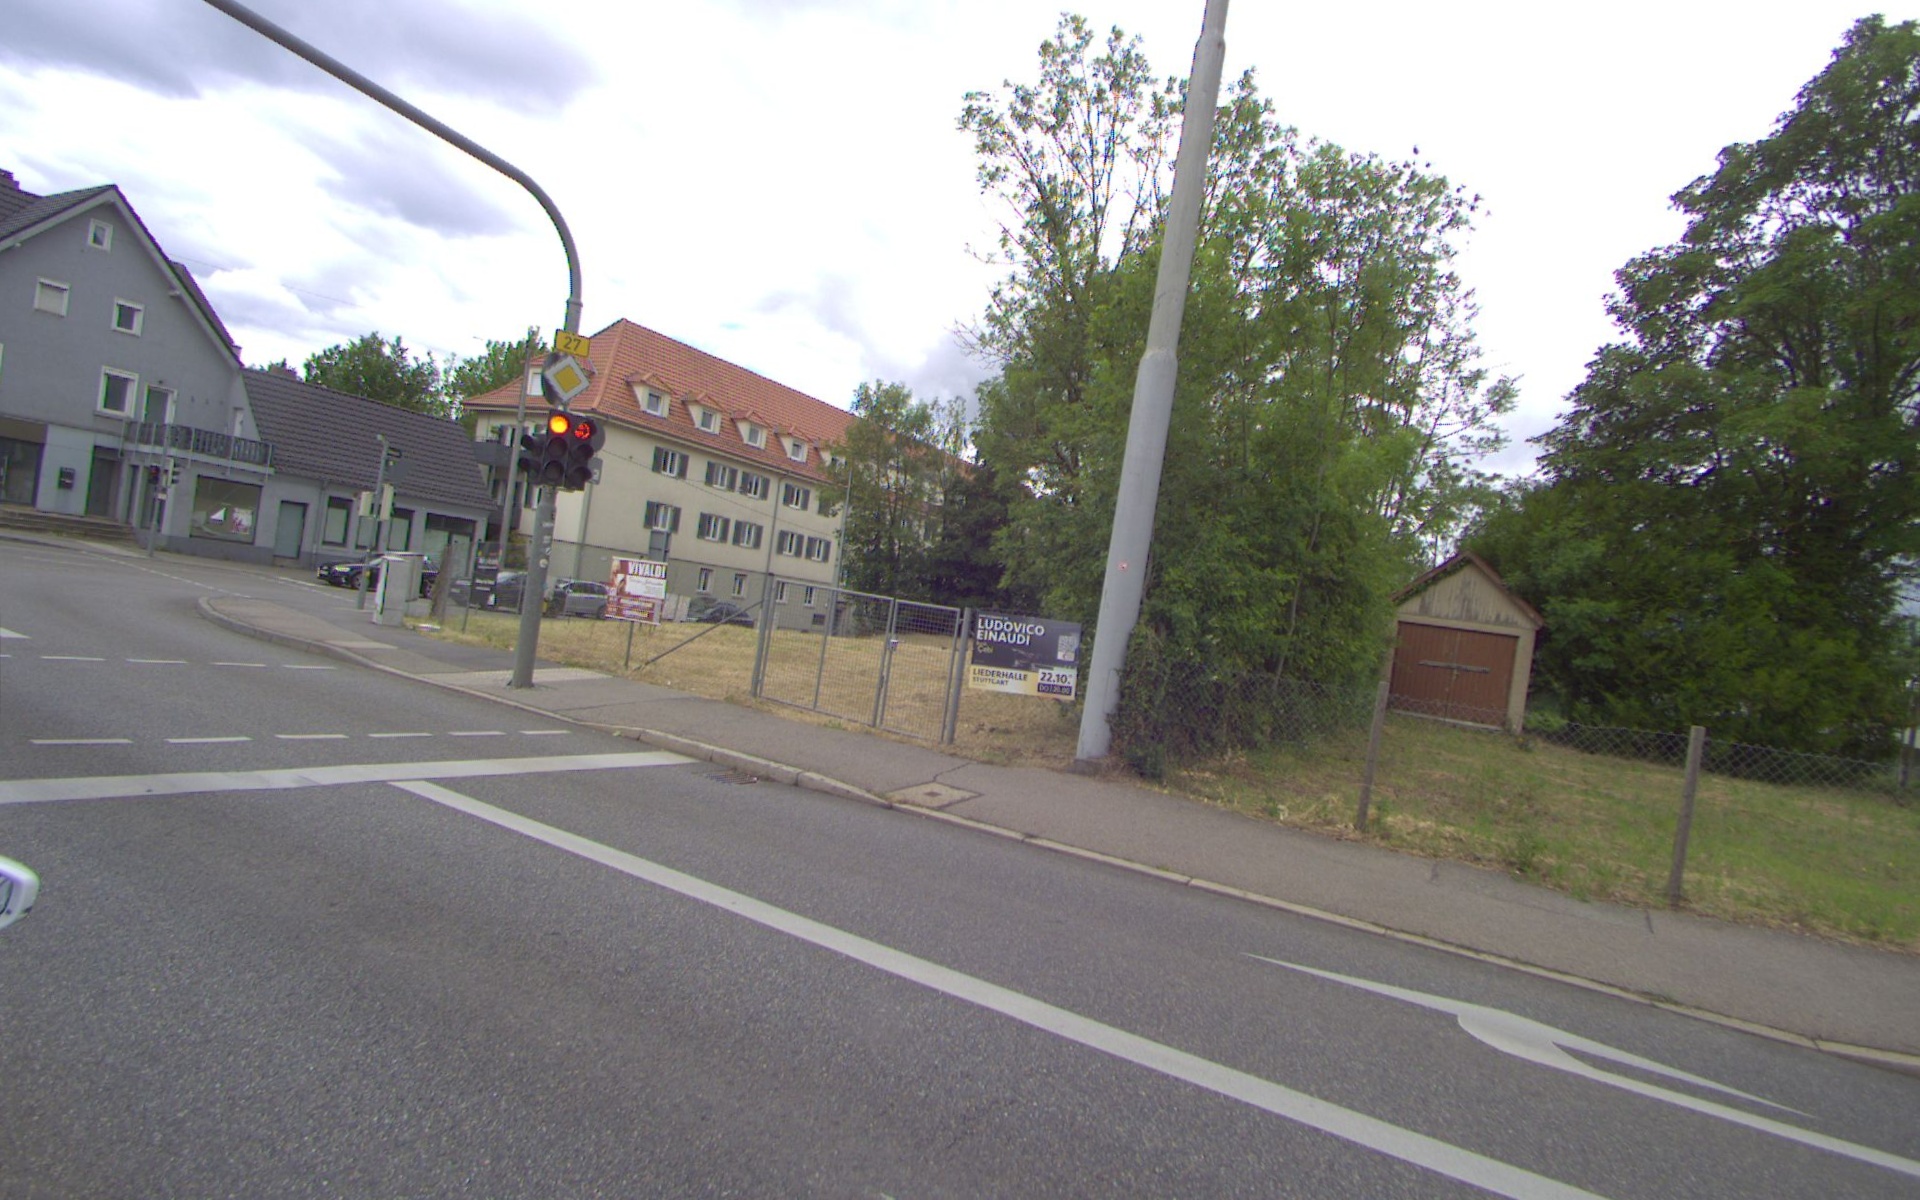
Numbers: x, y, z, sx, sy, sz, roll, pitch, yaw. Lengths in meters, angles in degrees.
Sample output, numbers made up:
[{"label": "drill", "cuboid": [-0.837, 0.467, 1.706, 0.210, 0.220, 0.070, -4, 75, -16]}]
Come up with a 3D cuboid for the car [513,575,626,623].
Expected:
[{"label": "car", "cuboid": [-16.255, -0.010, 42.080, 1.769, 1.386, 4.100, 7, -3, 30]}]

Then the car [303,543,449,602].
[{"label": "car", "cuboid": [-20.831, -0.947, 36.054, 1.769, 1.386, 4.100, 7, -3, 30]}]

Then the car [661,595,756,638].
[{"label": "car", "cuboid": [-11.544, 0.803, 46.362, 1.769, 1.386, 4.100, 7, -3, 30]}]

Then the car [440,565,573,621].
[{"label": "car", "cuboid": [-16.589, -0.227, 37.010, 1.769, 1.386, 4.100, 7, -3, 30]}]
